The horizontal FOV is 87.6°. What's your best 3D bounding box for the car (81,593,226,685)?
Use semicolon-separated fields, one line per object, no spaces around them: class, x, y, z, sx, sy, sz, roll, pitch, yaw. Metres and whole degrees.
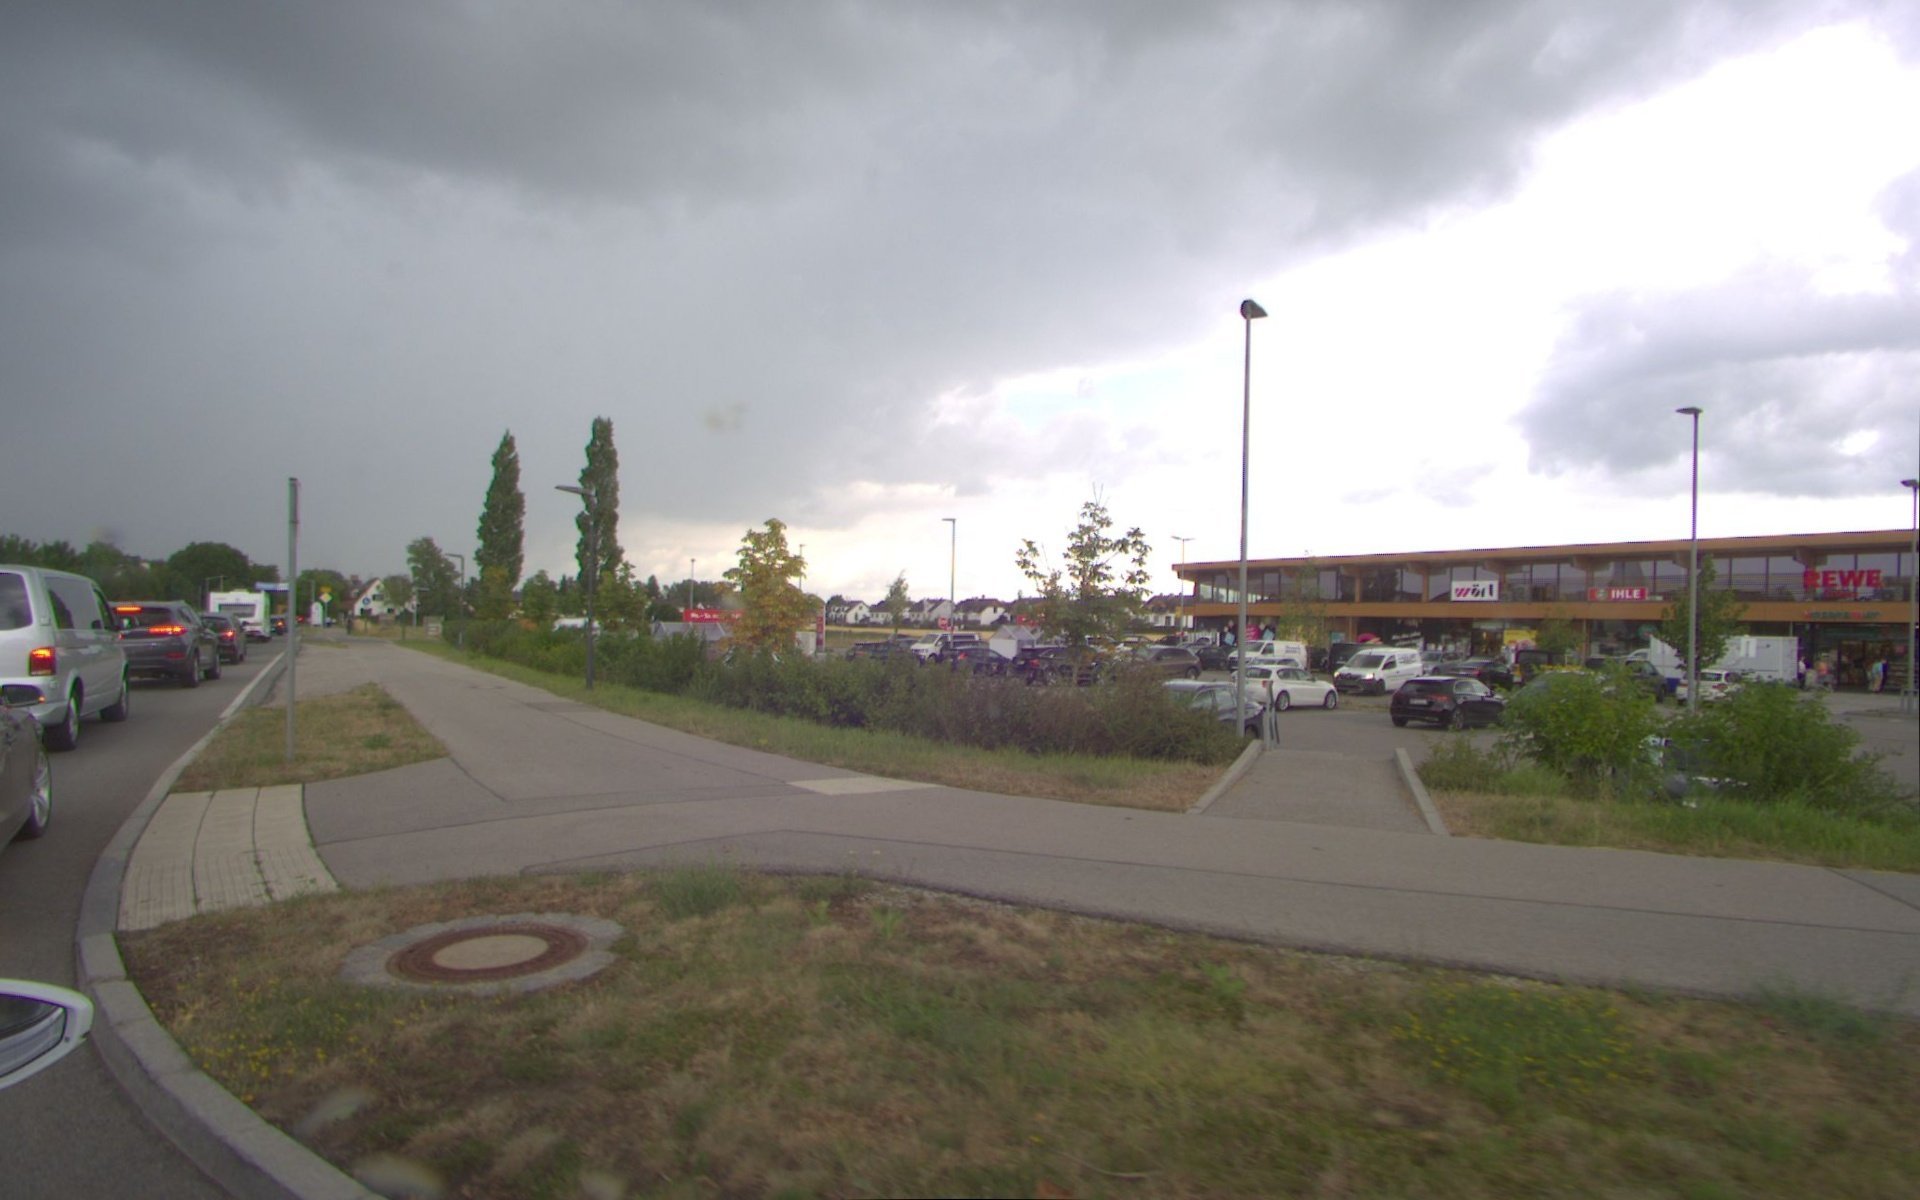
car;-15.861;0.758;19.897;1.759;1.638;3.976;3;-2;-32

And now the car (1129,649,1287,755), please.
car;3.655;1.396;14.324;1.552;1.221;3.749;2;-3;24

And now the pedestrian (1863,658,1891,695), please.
pedestrian;42.967;3.585;46.928;0.738;1.679;0.803;1;-1;24

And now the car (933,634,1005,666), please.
car;0.541;2.924;58.475;3.949;1.727;1.705;3;-2;-34

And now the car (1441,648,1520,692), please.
car;24.097;3.219;46.297;3.954;1.878;1.759;2;-2;-38

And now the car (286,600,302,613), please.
car;-118.005;1.126;177.550;1.971;2.240;3.981;2;-1;-29

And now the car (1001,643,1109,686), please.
car;4.084;2.767;42.695;4.408;1.727;1.792;3;-2;-34

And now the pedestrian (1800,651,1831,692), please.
pedestrian;40.980;3.427;47.958;0.784;1.921;0.923;4;-2;-33

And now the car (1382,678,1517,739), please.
car;13.638;2.955;27.818;3.954;1.416;1.822;2;-1;-38

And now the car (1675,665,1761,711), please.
car;29.010;3.314;38.279;3.955;1.550;1.718;2;-1;-39

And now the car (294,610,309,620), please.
car;-90.768;2.077;138.047;1.597;1.427;3.595;2;-2;-32

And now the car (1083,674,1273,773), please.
car;4.484;2.408;20.300;3.959;1.628;1.774;2;-1;-42

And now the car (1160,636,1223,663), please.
car;15.921;3.392;68.928;3.945;1.794;1.989;2;-1;-31

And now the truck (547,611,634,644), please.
truck;-23.107;1.730;62.732;4.756;1.896;1.985;3;-2;-38

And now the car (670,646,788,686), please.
car;-9.215;2.624;40.079;4.191;1.458;1.988;2;-2;-33

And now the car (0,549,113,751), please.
car;-10.805;0.492;11.086;1.851;1.959;3.971;2;-2;-36

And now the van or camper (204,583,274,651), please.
van or camper;-38.074;0.958;53.048;2.599;3.365;6.780;2;-2;-33

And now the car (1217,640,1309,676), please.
car;16.751;3.196;55.220;5.235;1.854;1.988;3;-2;-33

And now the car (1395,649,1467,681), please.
car;25.342;3.477;53.794;4.176;1.633;1.754;3;-2;-37

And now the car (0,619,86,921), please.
car;-5.642;0.796;4.785;1.768;1.409;4.104;2;-2;-36

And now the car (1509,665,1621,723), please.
car;18.701;2.851;30.902;3.955;1.573;1.718;2;-1;-39

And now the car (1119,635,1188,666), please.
car;12.218;3.211;63.226;3.945;1.861;1.989;3;-2;-31

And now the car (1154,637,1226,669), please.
car;13.969;3.212;60.710;3.943;1.861;1.990;2;-1;-30

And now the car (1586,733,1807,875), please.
car;10.564;2.845;14.662;1.553;1.390;3.727;1;-2;19

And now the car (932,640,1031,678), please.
car;1.048;2.827;47.996;4.360;1.686;1.988;2;-1;-33

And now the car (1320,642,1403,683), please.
car;20.518;3.192;51.111;3.950;1.860;1.987;5;-3;-33

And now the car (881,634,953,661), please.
car;-2.717;3.014;63.425;4.268;1.598;1.757;2;-1;-32

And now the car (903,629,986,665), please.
car;-0.902;2.866;61.492;5.076;2.040;1.980;2;0;-44

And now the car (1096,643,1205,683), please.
car;8.786;2.874;45.963;4.926;1.686;1.987;2;-1;-34

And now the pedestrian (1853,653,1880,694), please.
pedestrian;46.873;3.789;51.773;0.797;2.040;0.924;1;-1;-39

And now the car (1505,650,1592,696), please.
car;25.703;3.173;43.702;3.949;1.878;1.761;3;-2;-34

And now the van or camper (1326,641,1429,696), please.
van or camper;17.184;2.785;41.151;4.749;2.125;1.752;2;-2;-37

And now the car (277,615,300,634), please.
car;-61.417;2.252;91.655;1.597;1.651;3.595;2;-2;-32

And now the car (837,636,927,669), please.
car;-4.266;2.855;54.950;4.512;1.686;1.988;2;-1;-33

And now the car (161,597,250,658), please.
car;-21.813;0.801;29.072;1.759;1.639;3.976;1;-1;-33

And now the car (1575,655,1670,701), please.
car;26.858;3.133;40.541;4.069;1.746;1.840;3;-3;-35

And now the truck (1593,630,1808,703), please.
truck;32.787;2.869;44.632;2.942;2.843;7.202;2;-1;-38

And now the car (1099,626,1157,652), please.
car;12.504;2.924;74.414;3.943;1.864;1.865;2;-1;-30

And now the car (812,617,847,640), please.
car;-12.111;2.633;92.656;1.971;2.038;3.984;4;-3;-26

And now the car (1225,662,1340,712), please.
car;10.664;2.835;33.027;3.951;1.504;1.670;3;-2;-38

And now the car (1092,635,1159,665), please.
car;10.787;3.261;65.421;3.943;1.861;1.990;2;-1;-30

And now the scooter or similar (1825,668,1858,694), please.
scooter or similar;41.495;3.801;47.141;0.784;1.140;0.996;5;-3;-33

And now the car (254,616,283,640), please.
car;-54.014;2.201;78.274;1.597;1.817;3.977;2;-2;-32

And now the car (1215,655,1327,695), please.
car;12.919;3.081;41.547;4.727;1.503;1.892;2;-2;-34
